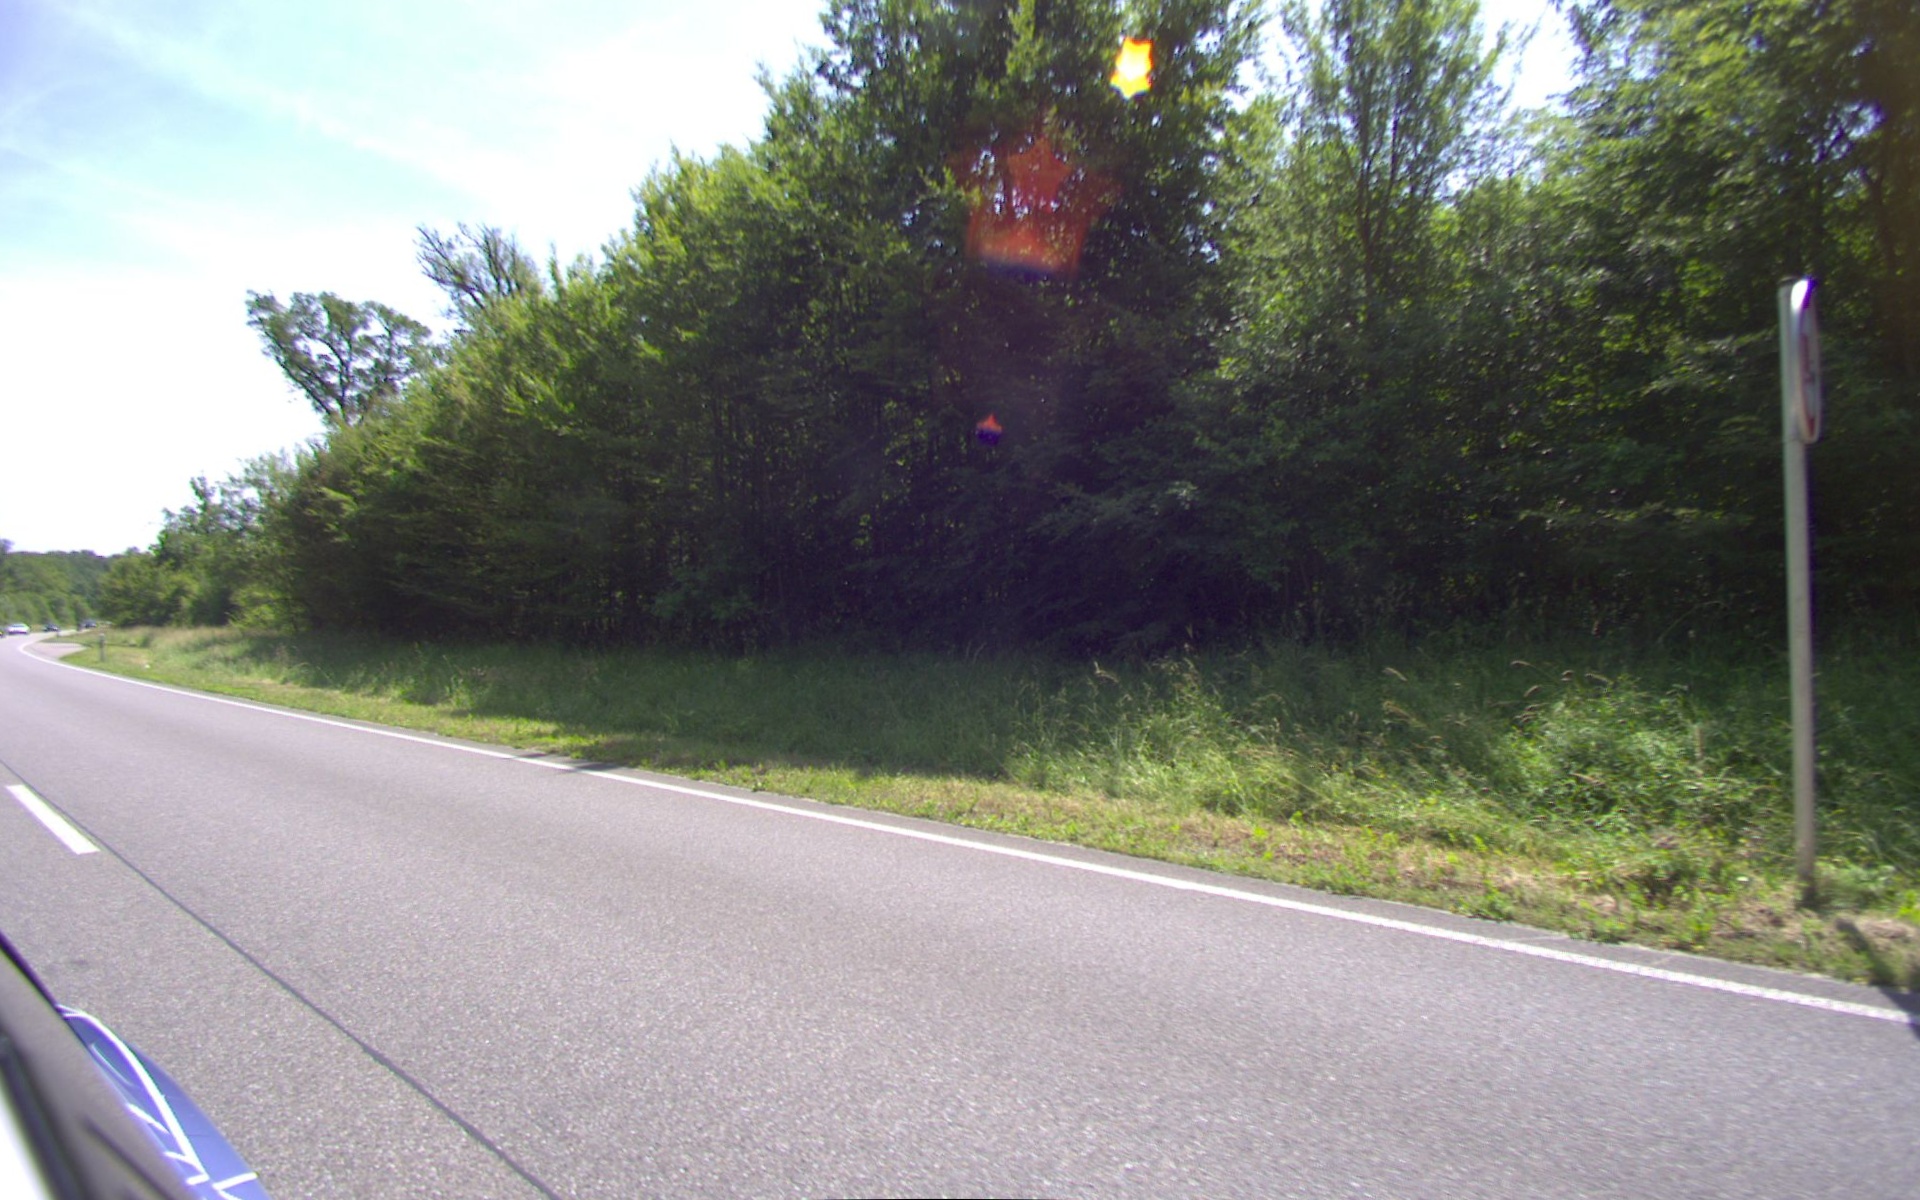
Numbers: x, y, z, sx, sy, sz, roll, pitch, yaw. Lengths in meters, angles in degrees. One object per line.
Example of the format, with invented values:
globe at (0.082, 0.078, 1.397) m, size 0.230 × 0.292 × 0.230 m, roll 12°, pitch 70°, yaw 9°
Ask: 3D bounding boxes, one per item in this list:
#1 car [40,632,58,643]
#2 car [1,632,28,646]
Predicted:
car at (-147.783, 6.030, 164.181) m, size 1.666 × 1.741 × 4.009 m, roll 0°, pitch -1°, yaw -36°
car at (-128.502, 5.276, 137.578) m, size 1.987 × 1.761 × 4.392 m, roll 0°, pitch -1°, yaw -34°
